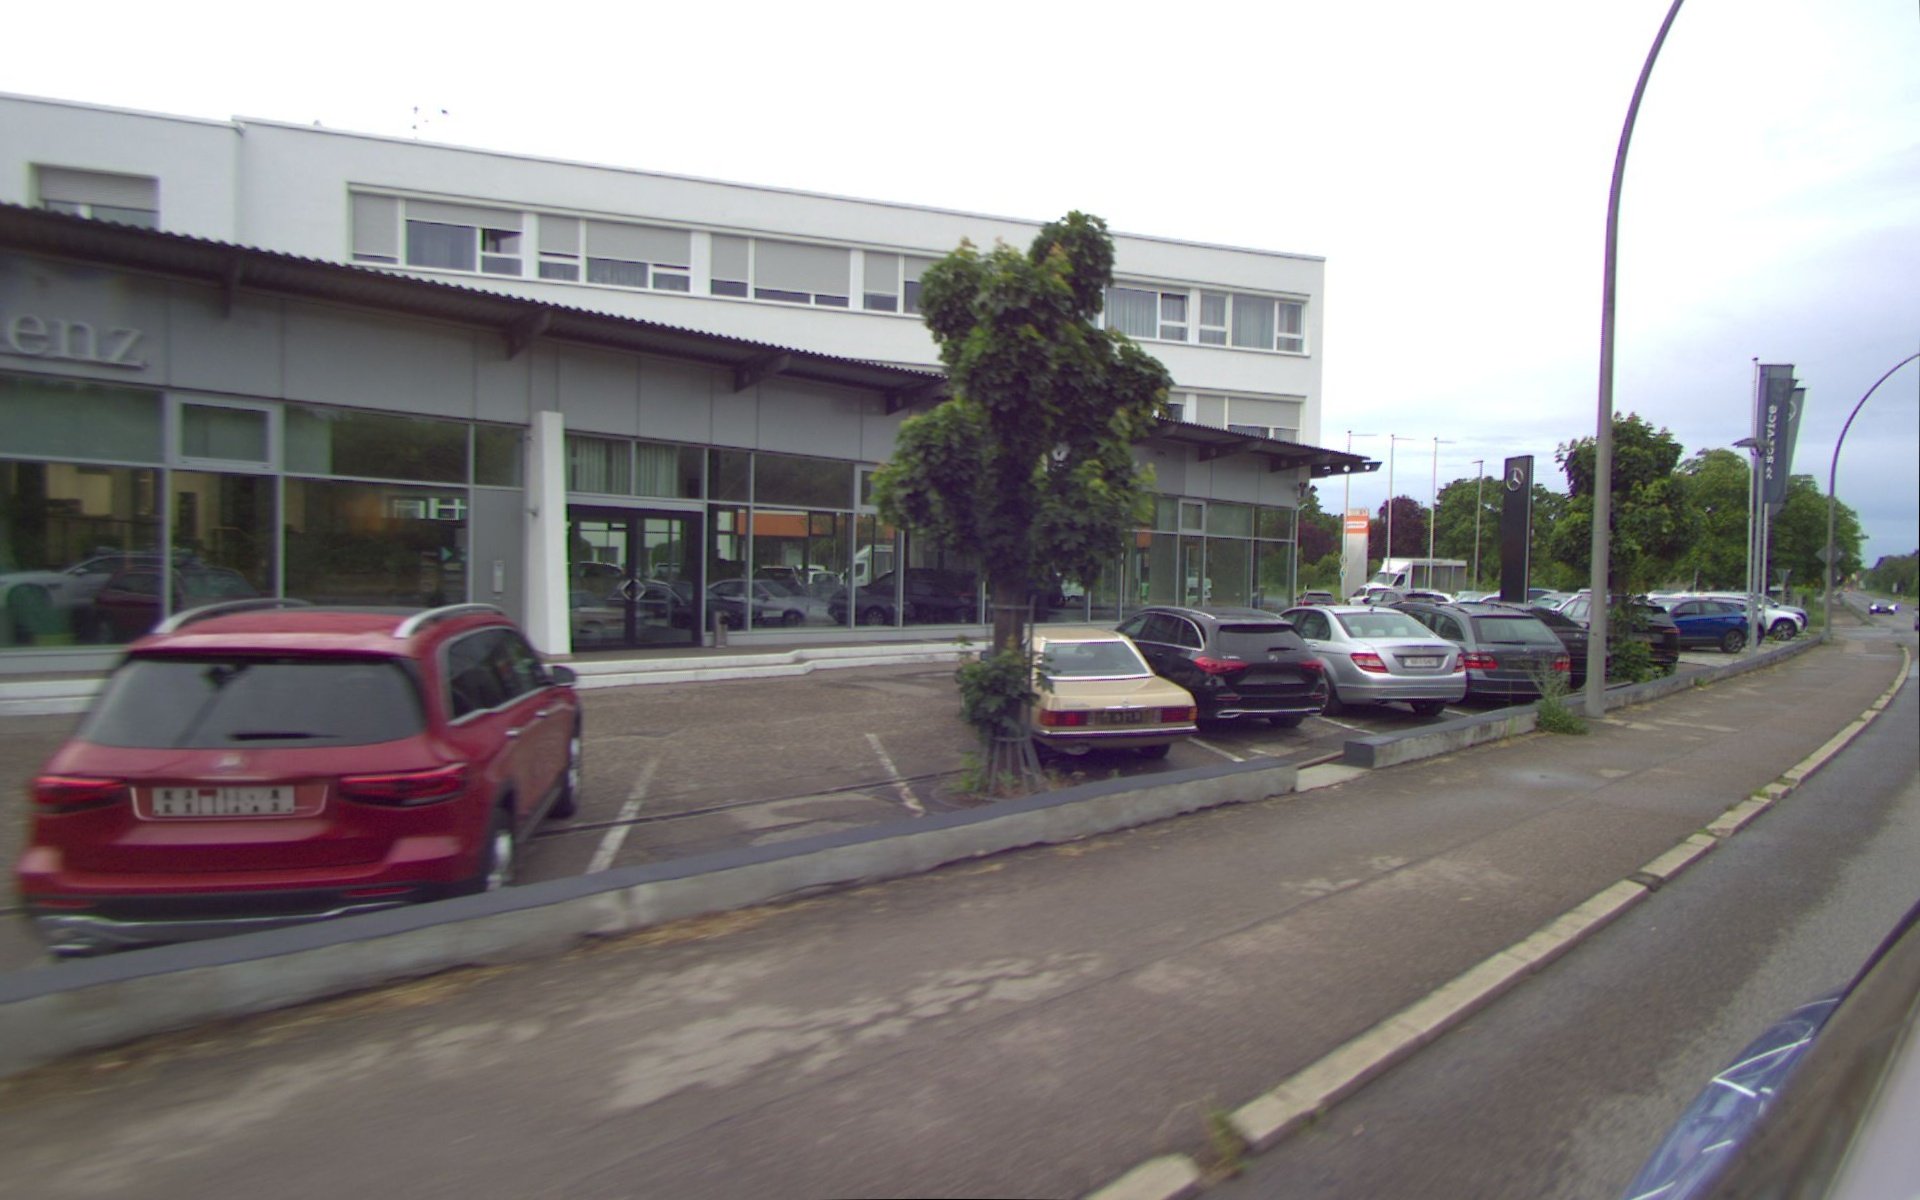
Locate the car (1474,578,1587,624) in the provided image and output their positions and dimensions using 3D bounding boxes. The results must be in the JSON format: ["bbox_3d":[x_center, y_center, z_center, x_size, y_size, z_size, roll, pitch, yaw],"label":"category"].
[{"bbox_3d":[24.008,0.045,42.628,3.917,1.742,1.682,-2,0,-10],"label":"car"}]

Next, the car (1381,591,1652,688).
[{"bbox_3d":[9.936,0.628,18.557,1.894,1.498,4.452,1,1,-11],"label":"car"}]

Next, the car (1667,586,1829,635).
[{"bbox_3d":[29.606,0.365,38.145,4.355,1.673,1.922,1,1,9],"label":"car"}]

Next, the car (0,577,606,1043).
[{"bbox_3d":[-3.456,0.781,6.169,1.958,1.683,4.706,-1,0,-13],"label":"car"}]

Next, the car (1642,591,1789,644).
[{"bbox_3d":[25.284,0.566,33.933,3.736,1.619,1.735,1,2,-8],"label":"car"}]

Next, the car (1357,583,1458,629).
[{"bbox_3d":[16.527,0.175,37.568,1.744,1.496,3.569,2,2,-8],"label":"car"}]

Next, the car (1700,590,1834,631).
[{"bbox_3d":[34.809,0.423,43.726,4.278,1.692,1.968,0,1,-4],"label":"car"}]

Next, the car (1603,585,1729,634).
[{"bbox_3d":[25.475,0.330,36.557,3.485,1.619,1.667,1,2,-9],"label":"car"}]

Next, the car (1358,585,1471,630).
[{"bbox_3d":[18.854,0.305,42.064,3.905,1.662,1.775,-2,0,-10],"label":"car"}]

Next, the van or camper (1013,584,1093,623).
[{"bbox_3d":[5.045,0.154,54.803,3.916,2.066,1.813,0,1,-19],"label":"van or camper"}]

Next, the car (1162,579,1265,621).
[{"bbox_3d":[9.908,-0.048,39.877,1.958,1.460,4.421,2,1,-15],"label":"car"}]

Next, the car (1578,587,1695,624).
[{"bbox_3d":[29.037,0.218,43.457,4.273,1.518,1.970,0,1,-18],"label":"car"}]

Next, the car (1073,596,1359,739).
[{"bbox_3d":[3.091,0.744,13.192,1.934,1.511,3.977,-1,0,-14],"label":"car"}]

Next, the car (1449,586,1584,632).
[{"bbox_3d":[20.029,0.302,36.472,3.917,1.564,1.907,1,1,-11],"label":"car"}]

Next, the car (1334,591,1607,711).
[{"bbox_3d":[7.715,0.694,15.809,1.860,1.575,4.005,-1,0,-7],"label":"car"}]

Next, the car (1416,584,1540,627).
[{"bbox_3d":[20.122,0.193,39.362,3.916,1.564,1.907,1,1,-12],"label":"car"}]

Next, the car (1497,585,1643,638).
[{"bbox_3d":[20.269,0.368,33.646,4.091,1.619,1.736,1,2,-15],"label":"car"}]

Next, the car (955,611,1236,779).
[{"bbox_3d":[1.261,0.881,11.357,1.699,1.317,4.245,-2,2,-13],"label":"car"}]

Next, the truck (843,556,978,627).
[{"bbox_3d":[-2.602,-0.433,52.627,6.510,3.457,2.577,-1,0,-16],"label":"truck"}]

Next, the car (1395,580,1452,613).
[{"bbox_3d":[22.437,-0.194,49.123,1.746,1.479,3.984,2,1,13],"label":"car"}]

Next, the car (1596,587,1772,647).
[{"bbox_3d":[22.217,0.518,31.143,4.276,1.652,1.848,1,3,-9],"label":"car"}]

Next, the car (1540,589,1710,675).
[{"bbox_3d":[14.544,0.599,22.435,1.817,1.628,4.527,2,1,16],"label":"car"}]

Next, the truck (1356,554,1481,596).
[{"bbox_3d":[30.818,-1.701,67.966,8.300,2.656,2.793,-1,0,-24],"label":"truck"}]

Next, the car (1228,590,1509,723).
[{"bbox_3d":[5.592,0.680,14.538,1.799,1.485,4.183,0,2,-9],"label":"car"}]

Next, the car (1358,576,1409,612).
[{"bbox_3d":[19.506,-0.285,46.738,1.748,1.571,3.431,2,1,17],"label":"car"}]
